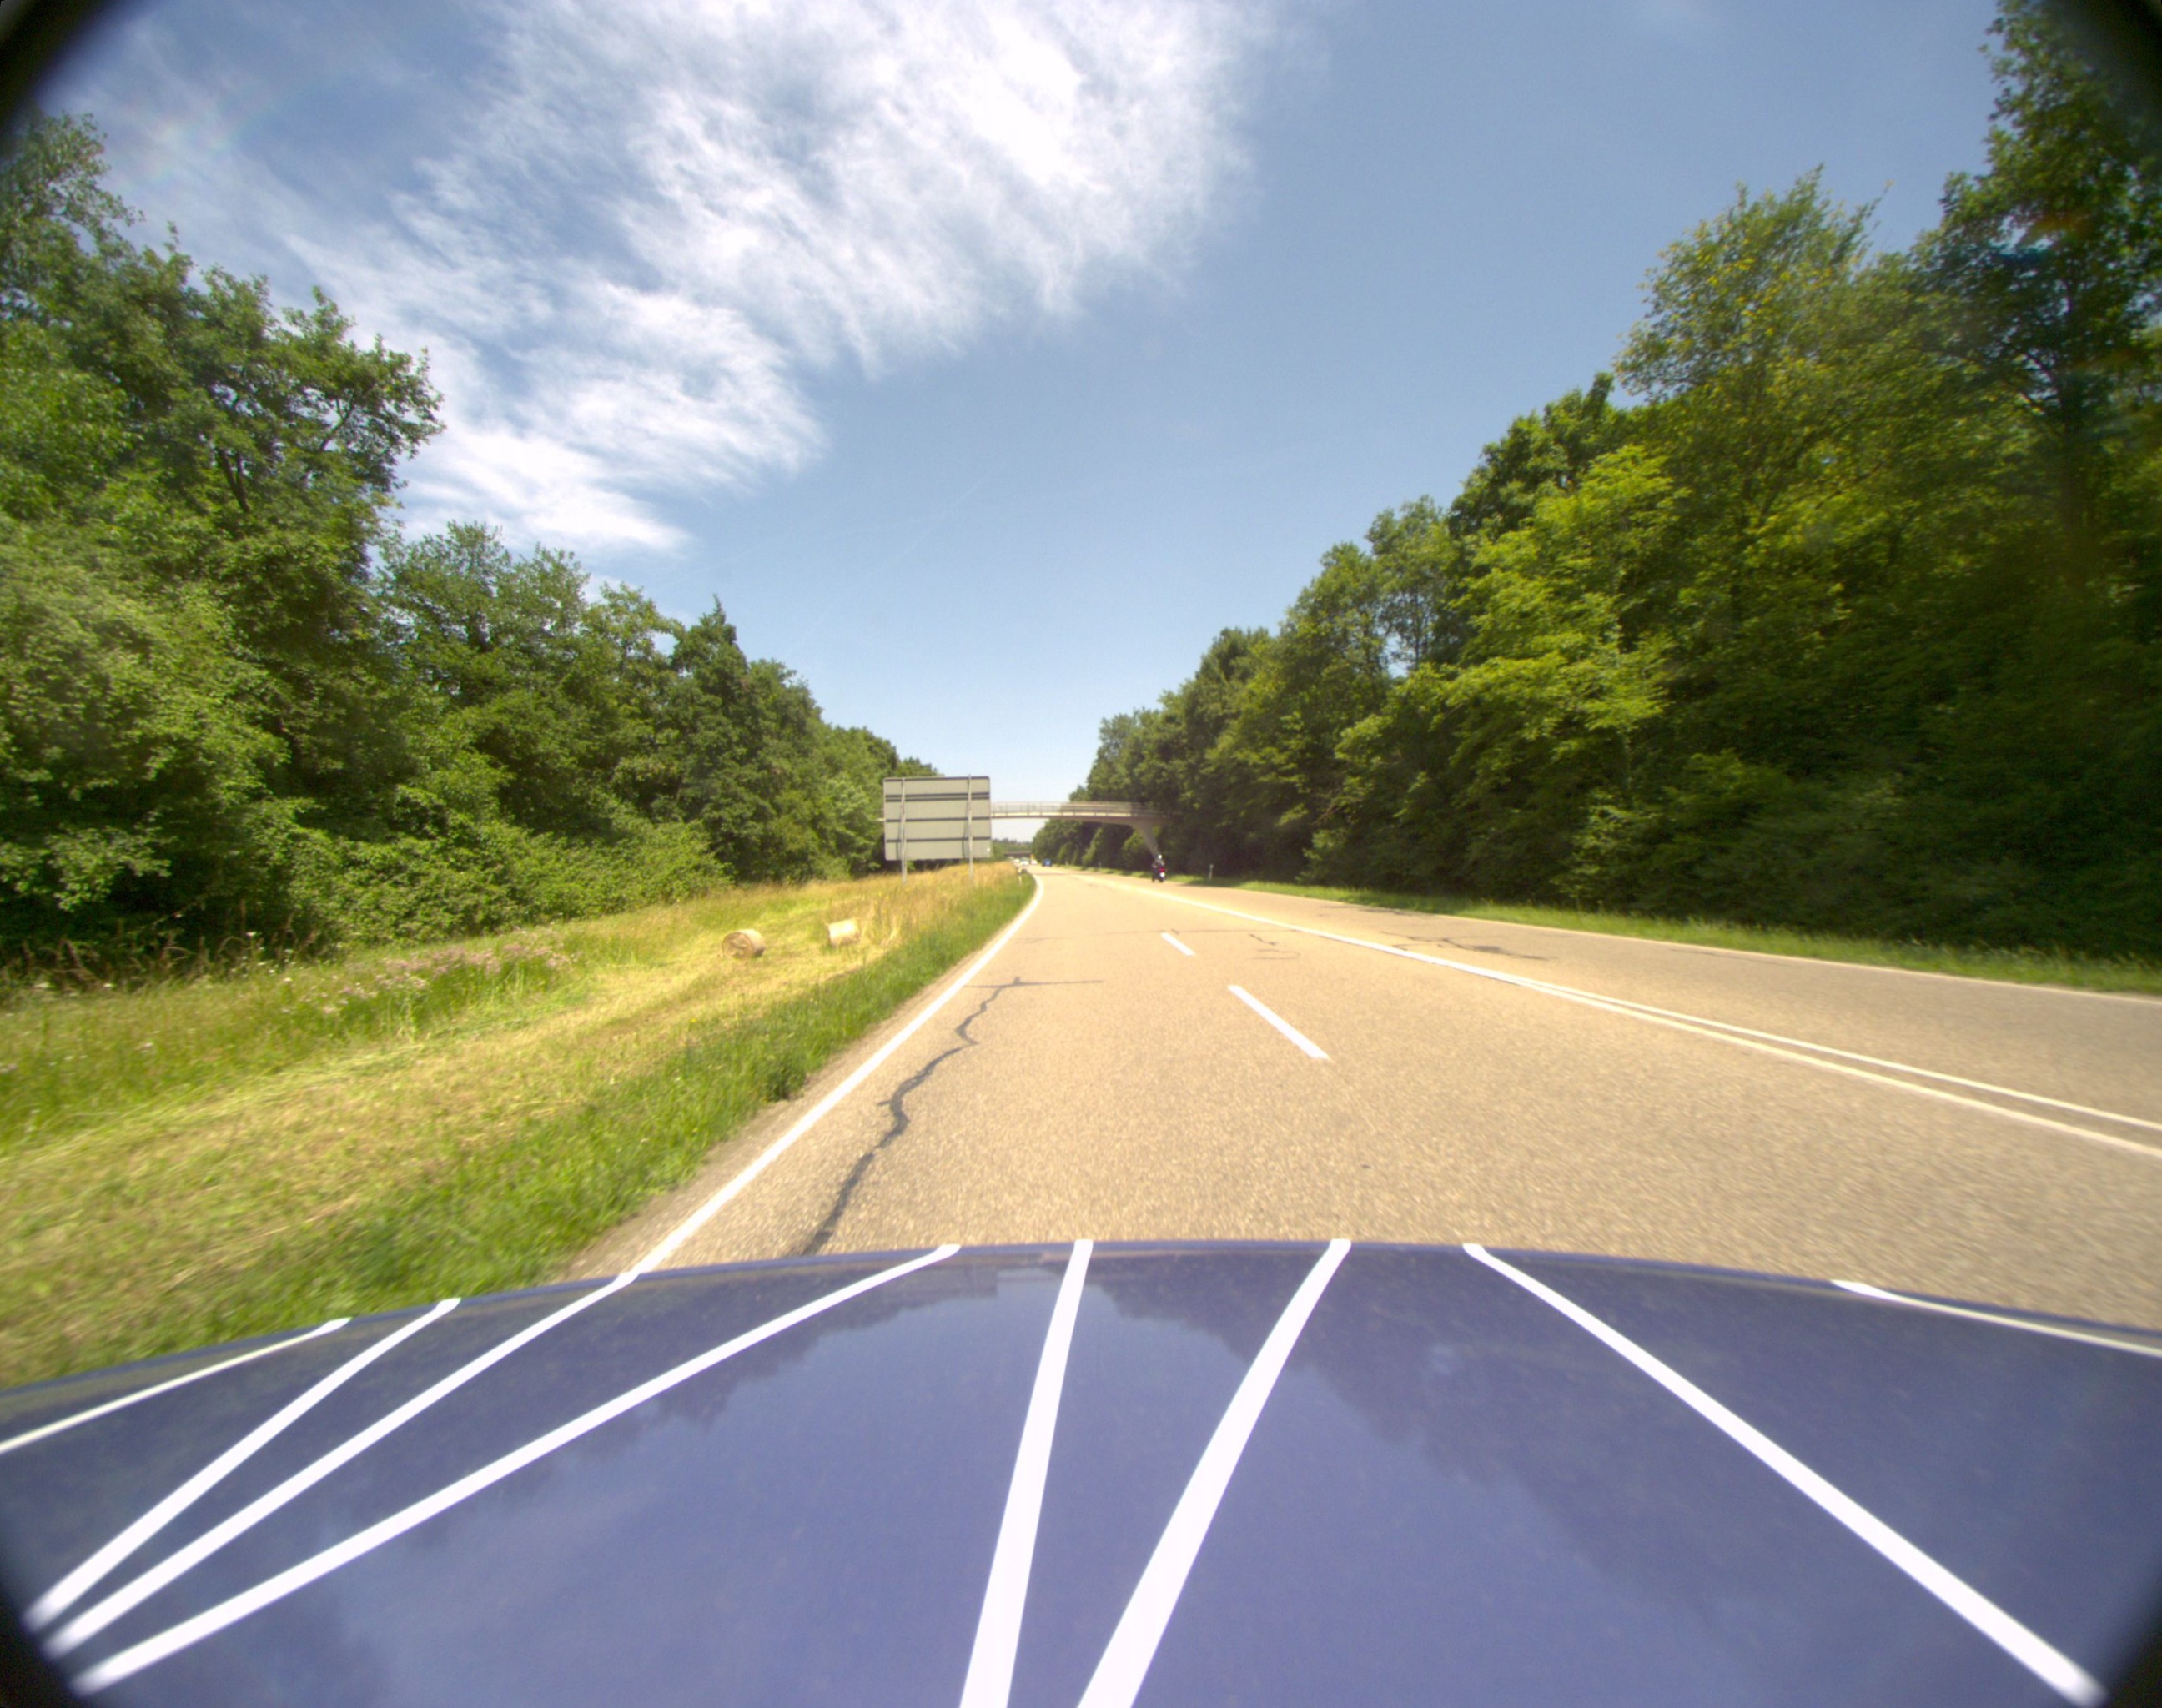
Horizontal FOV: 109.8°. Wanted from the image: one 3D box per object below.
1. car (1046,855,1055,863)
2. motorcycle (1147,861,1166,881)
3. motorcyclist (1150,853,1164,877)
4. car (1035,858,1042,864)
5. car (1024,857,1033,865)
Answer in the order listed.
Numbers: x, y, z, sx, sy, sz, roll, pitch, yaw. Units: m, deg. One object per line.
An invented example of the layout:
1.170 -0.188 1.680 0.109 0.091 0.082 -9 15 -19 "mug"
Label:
-6.450 1.066 160.127 1.829 1.580 4.417 0 0 -5 "car"
4.742 1.061 47.653 0.672 1.167 2.230 -1 0 -7 "motorcycle"
4.764 0.708 47.431 0.672 1.467 0.813 -1 1 -8 "motorcyclist"
-12.545 2.045 222.803 1.866 1.747 3.997 -1 0 -6 "car"
-12.268 1.603 176.218 1.866 1.747 3.997 -1 0 -6 "car"
